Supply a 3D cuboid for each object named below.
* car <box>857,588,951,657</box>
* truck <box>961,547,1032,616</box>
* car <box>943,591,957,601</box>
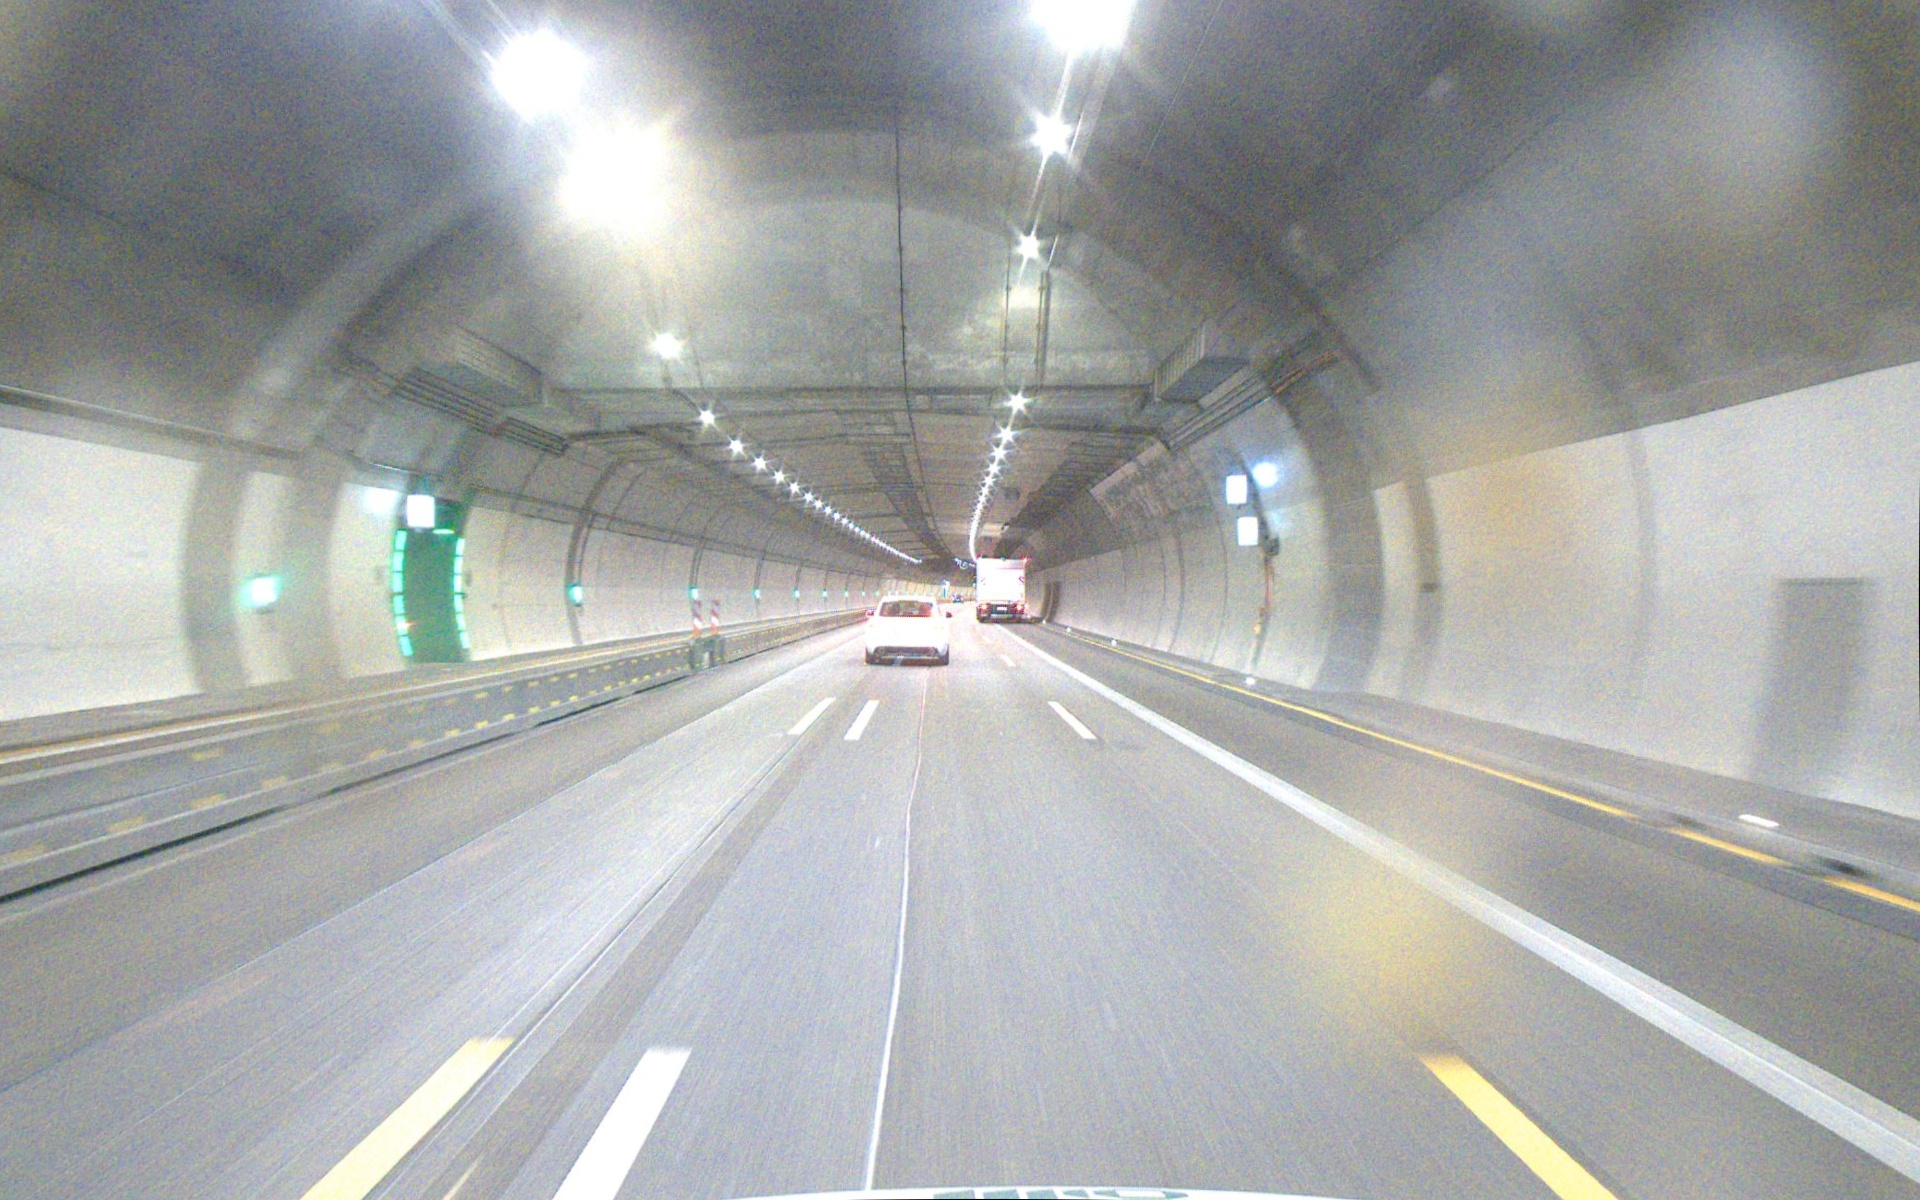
[{"bbox_3d":[-1.216,0.461,36.773,1.953,1.437,4.741,0,0,-1],"label":"car"},{"bbox_3d":[1.953,-1.011,93.651,3.520,3.714,10.719,0,0,-1],"label":"truck"},{"bbox_3d":[-1.625,-0.670,259.371,1.952,1.545,4.002,0,0,3],"label":"car"}]
